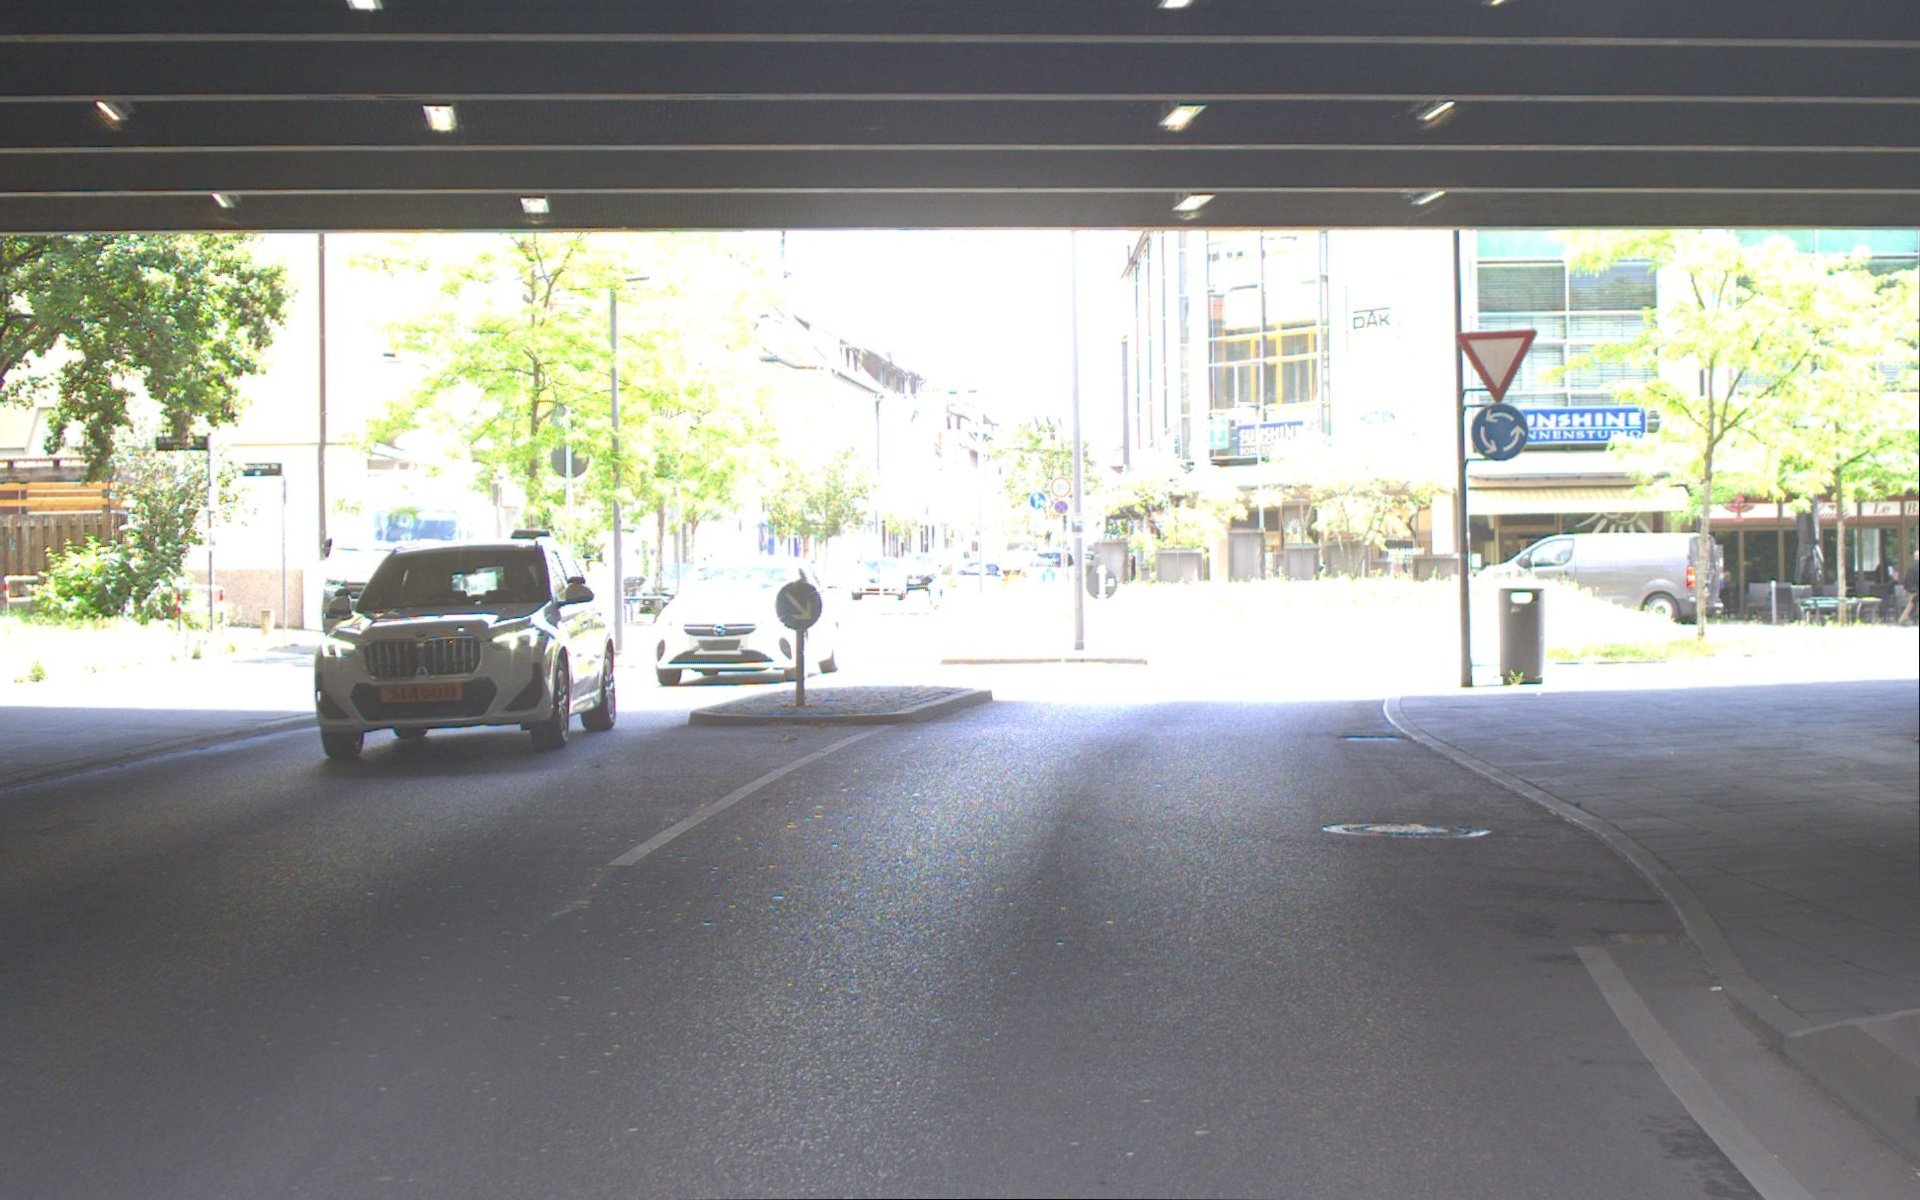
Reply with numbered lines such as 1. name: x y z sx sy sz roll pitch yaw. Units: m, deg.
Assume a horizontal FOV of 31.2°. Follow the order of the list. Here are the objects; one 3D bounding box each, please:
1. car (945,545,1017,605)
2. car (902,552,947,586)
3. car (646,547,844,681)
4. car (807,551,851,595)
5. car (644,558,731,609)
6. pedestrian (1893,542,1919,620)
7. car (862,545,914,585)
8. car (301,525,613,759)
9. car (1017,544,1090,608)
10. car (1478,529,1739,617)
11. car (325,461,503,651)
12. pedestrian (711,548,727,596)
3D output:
1. car: 0.538 -0.647 90.289 1.824 1.514 4.233 -1 0 0
2. car: -1.466 -1.284 140.144 1.709 1.349 4.001 0 1 -3
3. car: -2.484 0.131 40.597 1.672 1.442 3.852 -2 1 6
4. car: -5.287 -1.101 138.346 1.709 1.706 4.001 0 1 -3
5. car: -6.952 -0.431 88.054 1.710 1.241 4.411 0 1 2
6. pedestrian: 20.550 -0.418 73.906 0.695 1.669 0.617 0 1 -22
7. car: -2.519 -1.214 119.136 1.709 1.349 4.001 0 1 -3
8. car: -3.876 0.272 27.165 1.825 1.648 4.214 -2 1 0
9. car: 2.682 -0.688 97.735 1.824 1.725 4.232 -1 0 4
10. car: 12.840 -0.534 68.161 4.685 1.682 1.997 0 1 29
11. car: -7.916 -0.646 50.341 1.967 2.598 5.931 1 1 -3
12. pedestrian: -8.406 -0.983 119.854 0.551 1.680 0.516 0 1 -2
